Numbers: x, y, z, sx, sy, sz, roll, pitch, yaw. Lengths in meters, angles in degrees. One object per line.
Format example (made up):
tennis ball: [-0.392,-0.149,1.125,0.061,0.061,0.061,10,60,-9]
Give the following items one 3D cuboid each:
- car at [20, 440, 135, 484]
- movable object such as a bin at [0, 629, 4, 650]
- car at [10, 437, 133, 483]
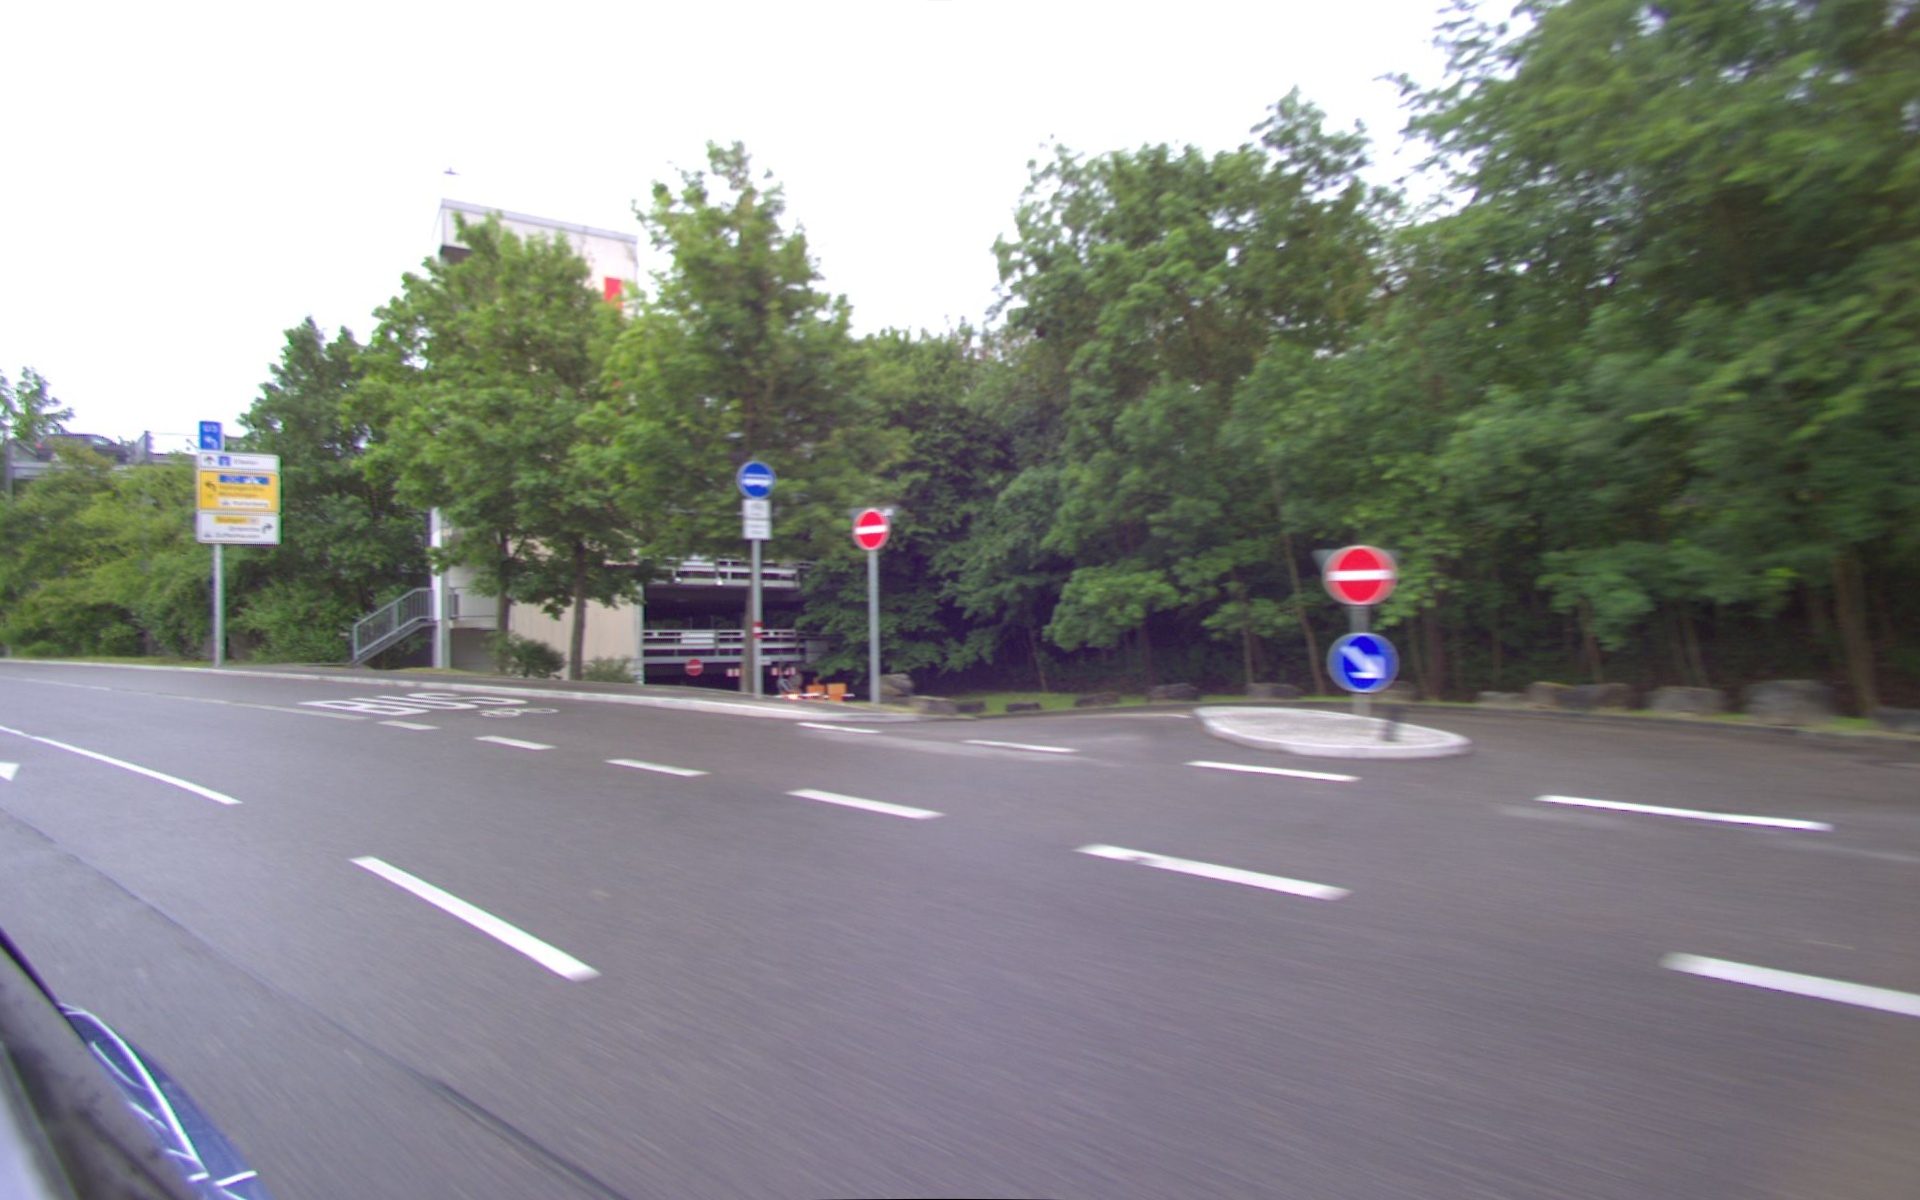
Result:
car: [-44.033,-6.861,50.602,3.931,1.530,2.006,1,-2,-29]
movable object such as a bin: [-122.365,4.937,127.024,1.922,2.647,2.966,-3,-5,32]
car: [-41.429,-6.503,47.297,3.931,1.530,2.006,1,-2,-29]
